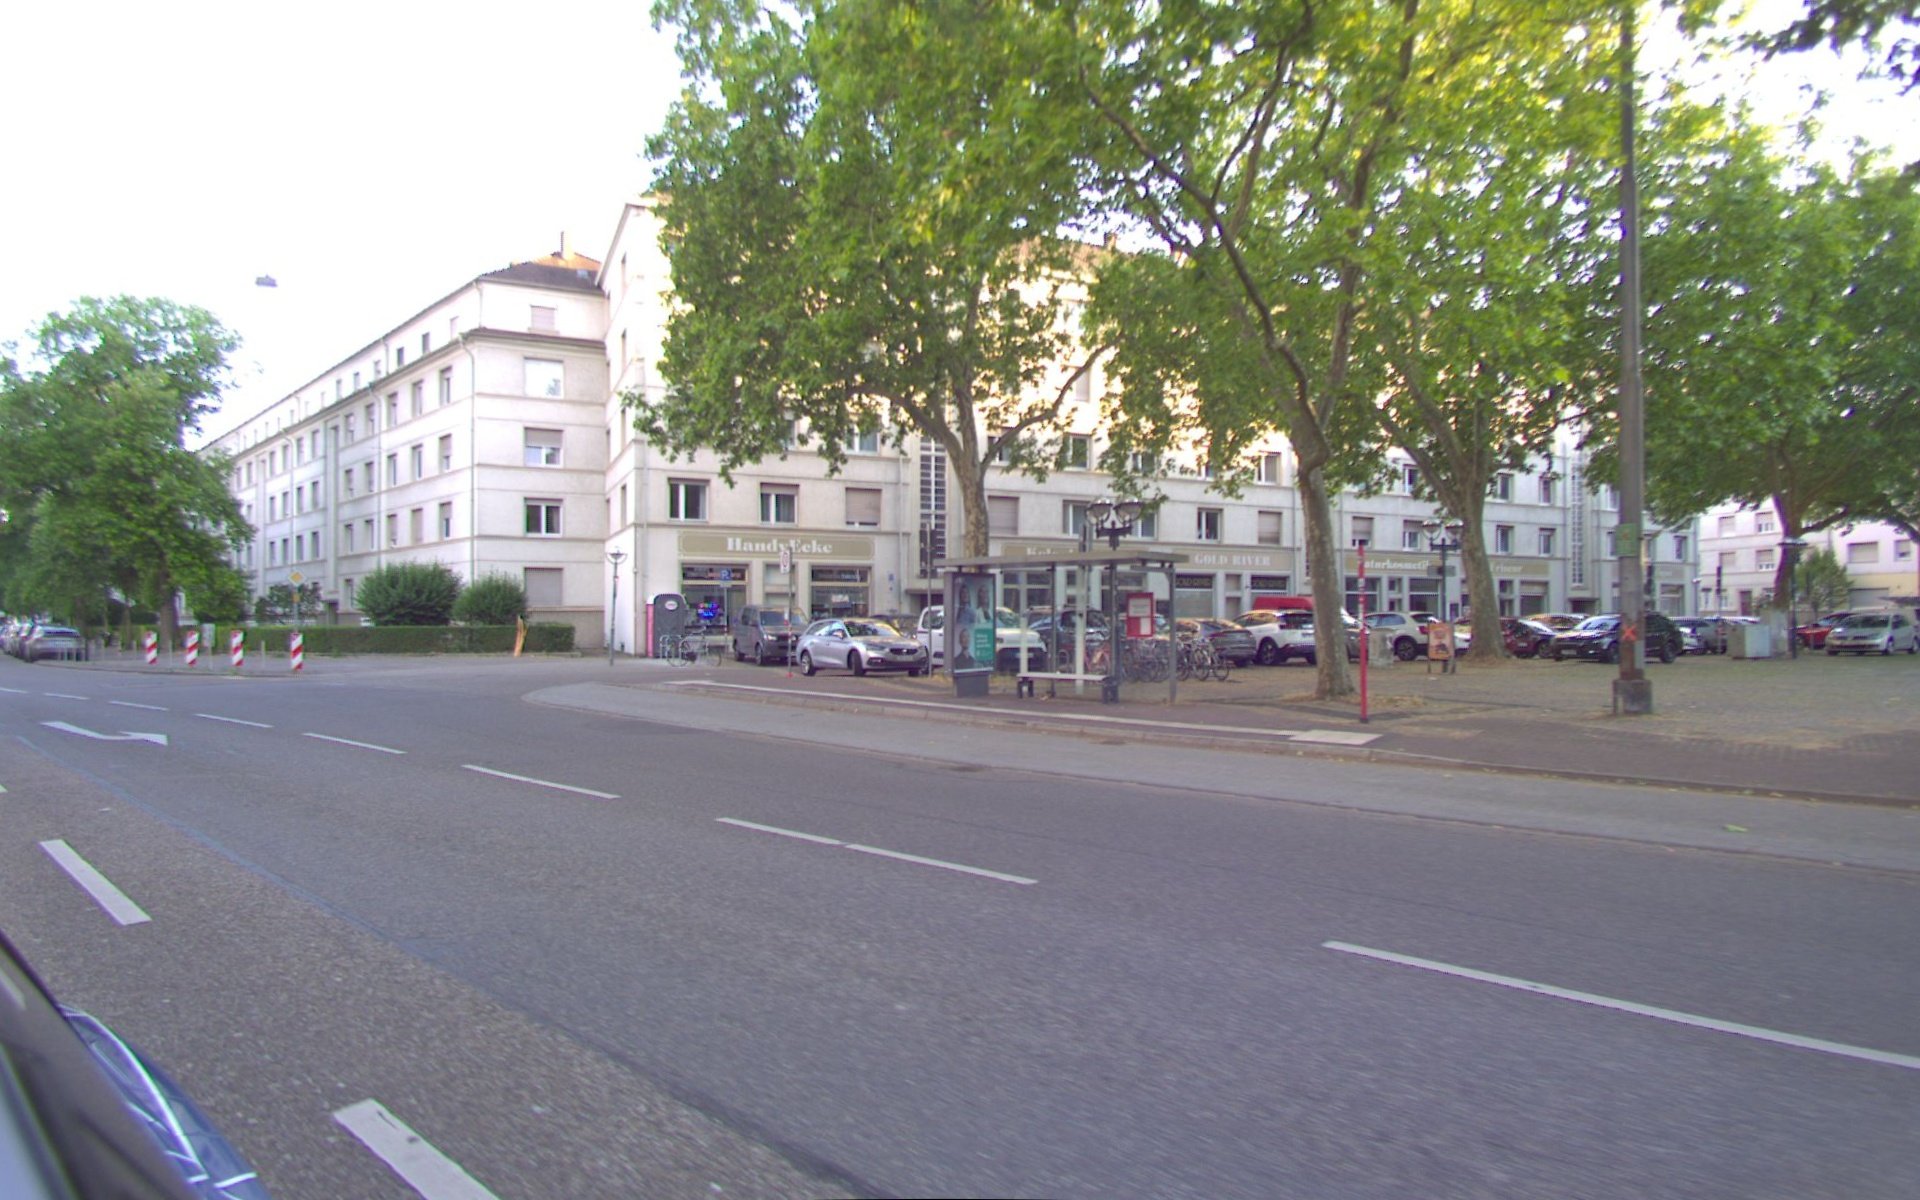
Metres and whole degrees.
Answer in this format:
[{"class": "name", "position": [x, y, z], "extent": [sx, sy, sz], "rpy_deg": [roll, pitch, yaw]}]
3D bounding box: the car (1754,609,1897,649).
[{"class": "car", "position": [39.402, 1.370, 46.163], "extent": [1.968, 1.748, 4.648], "rpy_deg": [2, -4, -40]}]

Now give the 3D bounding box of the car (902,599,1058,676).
[{"class": "car", "position": [0.390, 0.997, 25.954], "extent": [1.965, 1.795, 4.655], "rpy_deg": [1, -3, -28]}]

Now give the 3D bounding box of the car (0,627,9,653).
[{"class": "car", "position": [-72.604, 3.033, 75.881], "extent": [1.866, 1.840, 4.263], "rpy_deg": [0, 0, -44]}]

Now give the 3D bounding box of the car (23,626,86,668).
[{"class": "car", "position": [-38.780, 1.957, 43.318], "extent": [1.866, 1.612, 4.003], "rpy_deg": [0, 0, -44]}]

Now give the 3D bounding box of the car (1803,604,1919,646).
[{"class": "car", "position": [42.130, 1.197, 46.671], "extent": [1.968, 1.824, 4.658], "rpy_deg": [2, -4, -38]}]

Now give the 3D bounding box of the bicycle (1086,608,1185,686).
[{"class": "bicycle", "position": [3.900, 1.004, 22.832], "extent": [0.795, 1.626, 2.754], "rpy_deg": [0, 0, -24]}]

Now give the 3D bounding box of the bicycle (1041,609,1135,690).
[{"class": "bicycle", "position": [2.721, 1.015, 21.905], "extent": [0.680, 1.626, 2.754], "rpy_deg": [0, 0, -24]}]

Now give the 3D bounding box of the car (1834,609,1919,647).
[{"class": "car", "position": [44.423, 1.342, 47.638], "extent": [1.968, 1.748, 4.648], "rpy_deg": [2, -4, -40]}]

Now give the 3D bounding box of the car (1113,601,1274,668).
[{"class": "car", "position": [6.648, 1.046, 29.390], "extent": [1.965, 1.795, 4.655], "rpy_deg": [1, -3, -28]}]

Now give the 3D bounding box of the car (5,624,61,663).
[{"class": "car", "position": [-44.635, 2.067, 48.696], "extent": [1.866, 1.703, 4.263], "rpy_deg": [0, 0, -44]}]

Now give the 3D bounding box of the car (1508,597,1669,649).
[{"class": "car", "position": [23.425, 0.923, 37.913], "extent": [2.057, 1.795, 4.655], "rpy_deg": [1, -3, -28]}]

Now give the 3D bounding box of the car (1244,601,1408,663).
[{"class": "car", "position": [11.278, 1.051, 31.553], "extent": [1.965, 1.795, 4.655], "rpy_deg": [1, -3, -28]}]

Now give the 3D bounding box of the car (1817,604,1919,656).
[{"class": "car", "position": [31.755, 0.992, 35.036], "extent": [3.696, 1.674, 1.680], "rpy_deg": [0, 0, -23]}]

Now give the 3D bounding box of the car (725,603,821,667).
[{"class": "car", "position": [-6.411, 1.125, 34.272], "extent": [1.965, 1.970, 4.656], "rpy_deg": [1, 0, -26]}]

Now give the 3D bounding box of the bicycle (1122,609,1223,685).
[{"class": "bicycle", "position": [4.840, 1.024, 23.346], "extent": [0.795, 1.626, 2.754], "rpy_deg": [0, 0, -24]}]

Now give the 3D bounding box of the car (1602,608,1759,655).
[{"class": "car", "position": [28.483, 1.284, 40.184], "extent": [1.965, 1.748, 4.655], "rpy_deg": [1, -3, -28]}]

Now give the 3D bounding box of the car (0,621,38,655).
[{"class": "car", "position": [-54.169, 2.133, 57.967], "extent": [1.866, 1.787, 4.263], "rpy_deg": [0, 0, -44]}]

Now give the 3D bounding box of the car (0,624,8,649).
[{"class": "car", "position": [-77.573, 2.923, 81.038], "extent": [1.866, 1.879, 4.263], "rpy_deg": [0, 0, -44]}]

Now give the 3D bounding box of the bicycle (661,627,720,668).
[{"class": "bicycle", "position": [-8.493, 1.477, 31.863], "extent": [1.776, 1.215, 0.649], "rpy_deg": [0, 0, -16]}]

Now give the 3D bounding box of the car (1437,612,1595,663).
[{"class": "car", "position": [20.049, 1.396, 36.733], "extent": [1.965, 1.748, 4.655], "rpy_deg": [1, -3, -28]}]

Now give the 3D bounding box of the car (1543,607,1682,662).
[{"class": "car", "position": [19.426, 1.012, 30.147], "extent": [3.696, 1.540, 1.680], "rpy_deg": [1, 0, -23]}]

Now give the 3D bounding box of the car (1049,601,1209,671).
[{"class": "car", "position": [4.593, 1.045, 28.310], "extent": [1.965, 1.795, 4.655], "rpy_deg": [1, -3, -28]}]

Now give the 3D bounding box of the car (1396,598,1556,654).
[{"class": "car", "position": [17.863, 0.964, 35.278], "extent": [1.965, 1.795, 4.655], "rpy_deg": [1, -3, -28]}]

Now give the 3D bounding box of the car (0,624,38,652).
[{"class": "car", "position": [-57.935, 2.306, 62.090], "extent": [1.866, 1.612, 4.263], "rpy_deg": [0, 0, -44]}]

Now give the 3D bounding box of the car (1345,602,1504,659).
[{"class": "car", "position": [15.694, 1.096, 34.468], "extent": [1.965, 1.795, 4.655], "rpy_deg": [1, -3, -28]}]

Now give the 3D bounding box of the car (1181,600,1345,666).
[{"class": "car", "position": [8.916, 1.030, 30.206], "extent": [1.965, 1.795, 4.655], "rpy_deg": [1, -3, -28]}]

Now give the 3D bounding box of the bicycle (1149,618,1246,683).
[{"class": "bicycle", "position": [5.552, 1.145, 23.859], "extent": [0.680, 1.394, 2.754], "rpy_deg": [0, 0, -24]}]

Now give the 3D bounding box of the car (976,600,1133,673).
[{"class": "car", "position": [2.436, 1.019, 27.409], "extent": [1.965, 1.795, 4.655], "rpy_deg": [1, -3, -28]}]

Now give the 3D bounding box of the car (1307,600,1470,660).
[{"class": "car", "position": [13.851, 1.034, 33.049], "extent": [1.965, 1.795, 4.655], "rpy_deg": [1, -3, -28]}]

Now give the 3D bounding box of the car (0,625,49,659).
[{"class": "car", "position": [-49.836, 2.203, 53.879], "extent": [1.866, 1.612, 4.263], "rpy_deg": [0, 0, -44]}]

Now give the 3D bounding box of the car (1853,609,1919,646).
[{"class": "car", "position": [46.487, 1.322, 48.969], "extent": [1.968, 1.748, 4.648], "rpy_deg": [2, -4, -40]}]

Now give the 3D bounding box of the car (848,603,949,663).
[{"class": "car", "position": [-2.307, 1.129, 36.612], "extent": [1.965, 1.970, 4.656], "rpy_deg": [1, 0, -26]}]

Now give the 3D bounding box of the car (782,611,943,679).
[{"class": "car", "position": [-2.526, 1.131, 25.088], "extent": [1.967, 1.515, 4.652], "rpy_deg": [2, -4, -35]}]

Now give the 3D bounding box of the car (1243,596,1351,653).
[{"class": "car", "position": [15.345, 1.069, 46.355], "extent": [1.965, 2.460, 4.656], "rpy_deg": [1, 0, -26]}]
